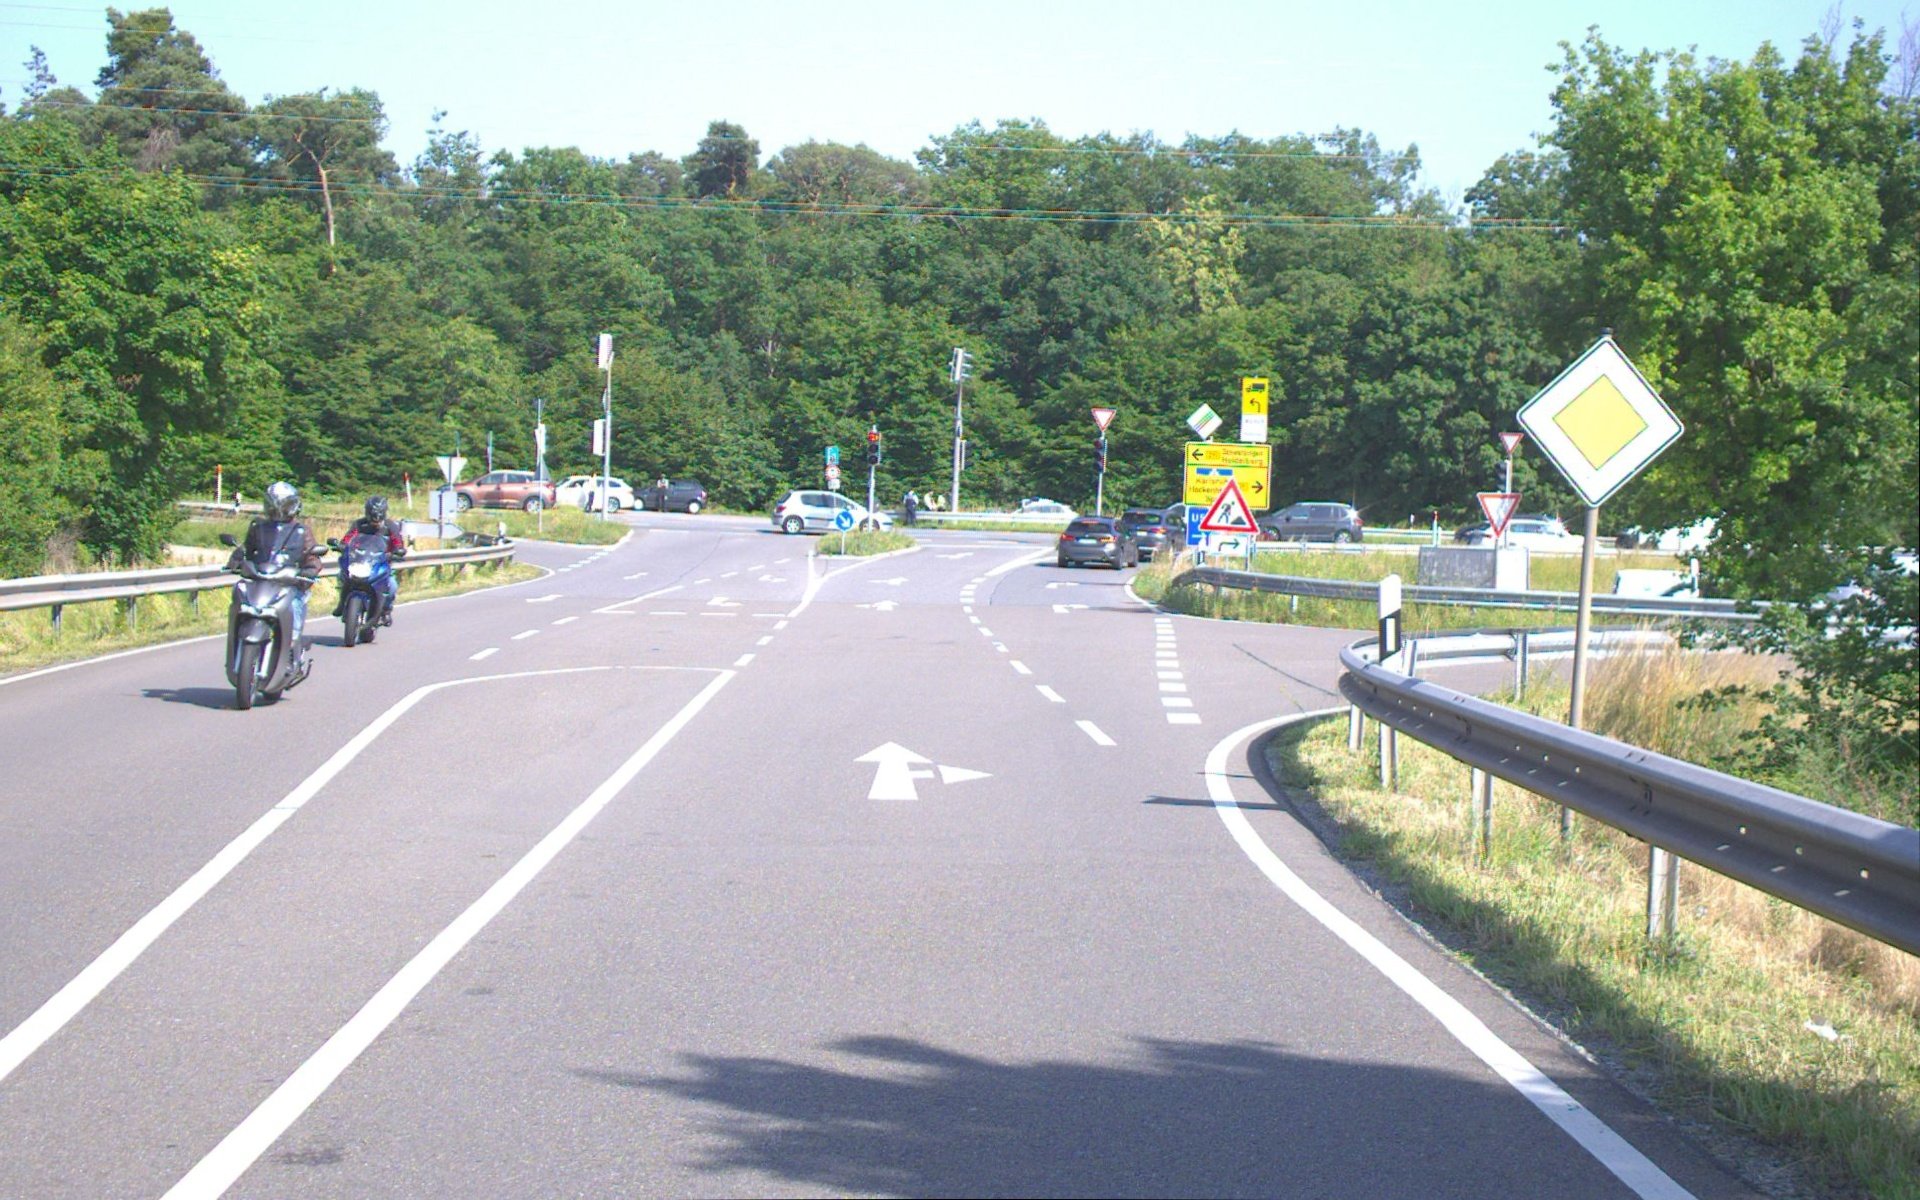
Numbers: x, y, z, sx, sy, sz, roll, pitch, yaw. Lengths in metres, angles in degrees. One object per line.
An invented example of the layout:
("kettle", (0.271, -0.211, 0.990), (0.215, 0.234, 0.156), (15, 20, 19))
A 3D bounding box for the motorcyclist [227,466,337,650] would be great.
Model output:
("motorcyclist", (-5.249, -0.330, 26.644), (0.699, 1.403, 0.784), (0, 1, 0))

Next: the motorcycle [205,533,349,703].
("motorcycle", (-5.252, 0.113, 26.538), (0.717, 1.246, 2.078), (0, 2, -1))

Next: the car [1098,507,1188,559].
("car", (5.619, -2.044, 104.979), (1.801, 1.495, 3.997), (3, 2, 17))

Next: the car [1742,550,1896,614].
("car", (25.883, -0.554, 103.629), (3.995, 1.614, 1.888), (6, 3, 34))

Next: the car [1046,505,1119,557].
("car", (3.517, -1.971, 97.749), (1.800, 1.393, 3.999), (-1, 1, 6))

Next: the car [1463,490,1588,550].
("car", (20.014, -2.842, 121.782), (3.986, 2.006, 1.801), (1, 3, -4))

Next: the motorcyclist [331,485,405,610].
("motorcyclist", (-6.693, -0.603, 38.912), (0.699, 1.403, 0.979), (0, 2, -2))

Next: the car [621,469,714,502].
("car", (-12.778, -5.008, 150.079), (3.986, 1.417, 1.796), (0, 2, -6))

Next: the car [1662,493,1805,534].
("car", (29.234, -3.265, 129.955), (4.880, 1.546, 2.001), (0, 2, -6))

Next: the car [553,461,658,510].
("car", (-14.761, -4.760, 143.200), (3.986, 2.006, 1.796), (-1, 2, -21))

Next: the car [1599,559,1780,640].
("car", (18.582, -0.029, 87.582), (4.357, 1.777, 1.901), (3, 2, 12))

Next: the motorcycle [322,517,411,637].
("motorcycle", (-6.701, -0.282, 38.892), (0.717, 1.304, 2.182), (0, 2, -2))

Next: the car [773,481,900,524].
("car", (-4.278, -3.362, 118.411), (4.227, 1.454, 2.001), (0, 2, -7))

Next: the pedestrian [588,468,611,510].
("pedestrian", (-14.854, -4.579, 141.629), (0.677, 1.715, 0.758), (2, 2, 20))

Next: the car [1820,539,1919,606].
("car", (29.540, -0.826, 108.666), (3.997, 1.870, 1.887), (6, 3, 39))

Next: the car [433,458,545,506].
("car", (-17.425, -4.342, 127.038), (3.986, 1.744, 1.764), (0, 2, -11))

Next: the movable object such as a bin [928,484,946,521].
("movable object such as a bin", (-0.919, -3.861, 136.328), (0.602, 1.483, 0.732), (0, 1, 7))

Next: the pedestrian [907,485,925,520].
("pedestrian", (-1.731, -3.853, 135.824), (0.524, 1.386, 0.513), (1, 2, 38))
